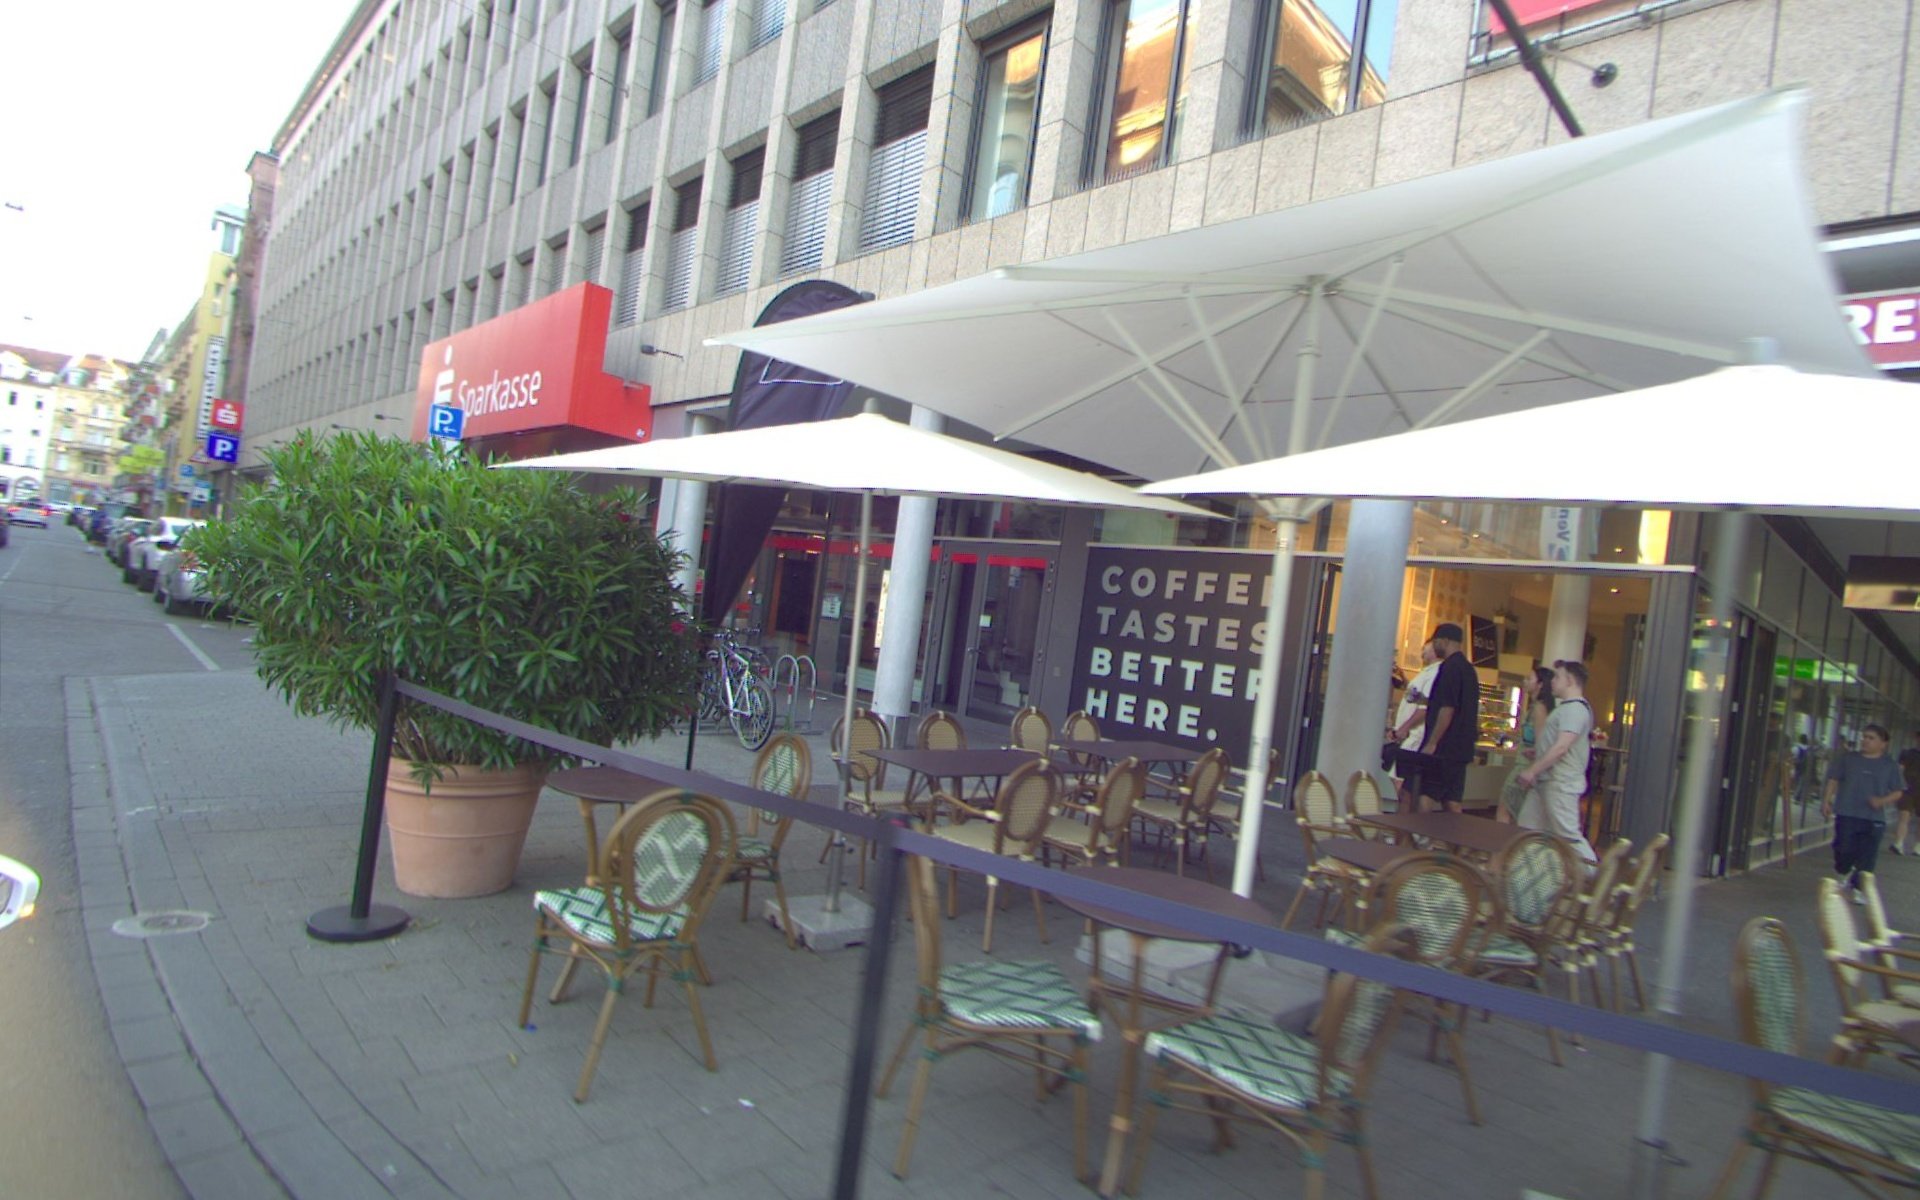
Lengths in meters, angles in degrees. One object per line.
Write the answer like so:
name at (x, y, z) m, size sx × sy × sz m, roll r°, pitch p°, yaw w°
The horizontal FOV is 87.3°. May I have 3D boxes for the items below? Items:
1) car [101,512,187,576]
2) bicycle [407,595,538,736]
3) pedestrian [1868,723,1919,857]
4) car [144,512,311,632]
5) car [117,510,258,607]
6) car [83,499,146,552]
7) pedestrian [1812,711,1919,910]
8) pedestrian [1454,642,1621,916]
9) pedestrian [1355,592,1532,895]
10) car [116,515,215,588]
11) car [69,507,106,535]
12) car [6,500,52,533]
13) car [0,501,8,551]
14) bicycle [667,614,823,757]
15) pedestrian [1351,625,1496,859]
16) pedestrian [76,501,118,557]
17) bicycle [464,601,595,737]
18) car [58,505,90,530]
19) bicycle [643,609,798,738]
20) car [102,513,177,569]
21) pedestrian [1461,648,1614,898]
car at (-24.554, -1.710, 30.227) m, size 1.641 × 1.539 × 3.245 m, roll 11°, pitch -3°, yaw -43°
bicycle at (-4.418, 0.559, 9.062) m, size 0.556 × 1.054 × 1.665 m, roll 6°, pitch 0°, yaw -41°
pedestrian at (14.480, 2.897, 15.348) m, size 0.769 × 1.905 × 0.680 m, roll 8°, pitch 0°, yaw -44°
car at (-13.236, -0.557, 18.089) m, size 1.767 × 1.654 × 4.003 m, roll 11°, pitch -3°, yaw -43°
car at (-17.211, -0.966, 22.340) m, size 4.037 × 1.654 × 1.768 m, roll 6°, pitch -4°, yaw 45°
car at (-39.378, -3.487, 46.818) m, size 1.866 × 2.040 × 3.720 m, roll 11°, pitch -3°, yaw -43°
pedestrian at (8.710, 1.990, 9.651) m, size 0.613 × 1.752 × 0.565 m, roll 8°, pitch 0°, yaw -44°
pedestrian at (4.207, 1.271, 7.335) m, size 0.715 × 1.808 × 0.657 m, roll 8°, pitch 1°, yaw -42°
pedestrian at (3.554, 1.031, 7.392) m, size 0.778 × 2.038 × 0.680 m, roll 8°, pitch 0°, yaw -42°
car at (-20.978, -1.304, 26.534) m, size 1.641 × 1.539 × 3.245 m, roll 11°, pitch -3°, yaw -43°
car at (-59.521, -5.389, 68.583) m, size 1.641 × 1.539 × 3.245 m, roll 11°, pitch -3°, yaw -43°
car at (-54.273, -4.898, 58.637) m, size 1.790 × 1.528 × 3.951 m, roll 9°, pitch -2°, yaw -43°
car at (-29.530, -2.342, 29.824) m, size 1.764 × 1.426 × 4.003 m, roll 8°, pitch -1°, yaw -43°
bicycle at (-2.131, 0.797, 9.815) m, size 0.543 × 1.131 × 1.791 m, roll 6°, pitch 0°, yaw -43°
pedestrian at (4.016, 1.219, 8.730) m, size 0.713 × 1.871 × 0.658 m, roll 8°, pitch 1°, yaw -37°
pedestrian at (-30.276, -2.482, 35.312) m, size 0.716 × 1.812 × 0.819 m, roll 7°, pitch 0°, yaw -21°
bicycle at (-4.064, 0.618, 9.424) m, size 0.556 × 1.054 × 1.665 m, roll 6°, pitch 0°, yaw -41°
car at (-69.318, -6.466, 78.679) m, size 1.641 × 1.539 × 3.245 m, roll 11°, pitch -3°, yaw -43°
bicycle at (-2.602, 0.762, 10.809) m, size 1.786 × 1.131 × 0.544 m, roll 6°, pitch 0°, yaw 39°
car at (-28.120, -2.035, 34.450) m, size 1.641 × 1.539 × 3.245 m, roll 11°, pitch -3°, yaw -43°
pedestrian at (4.595, 1.346, 8.004) m, size 0.715 × 1.808 × 0.657 m, roll 8°, pitch 1°, yaw -42°
